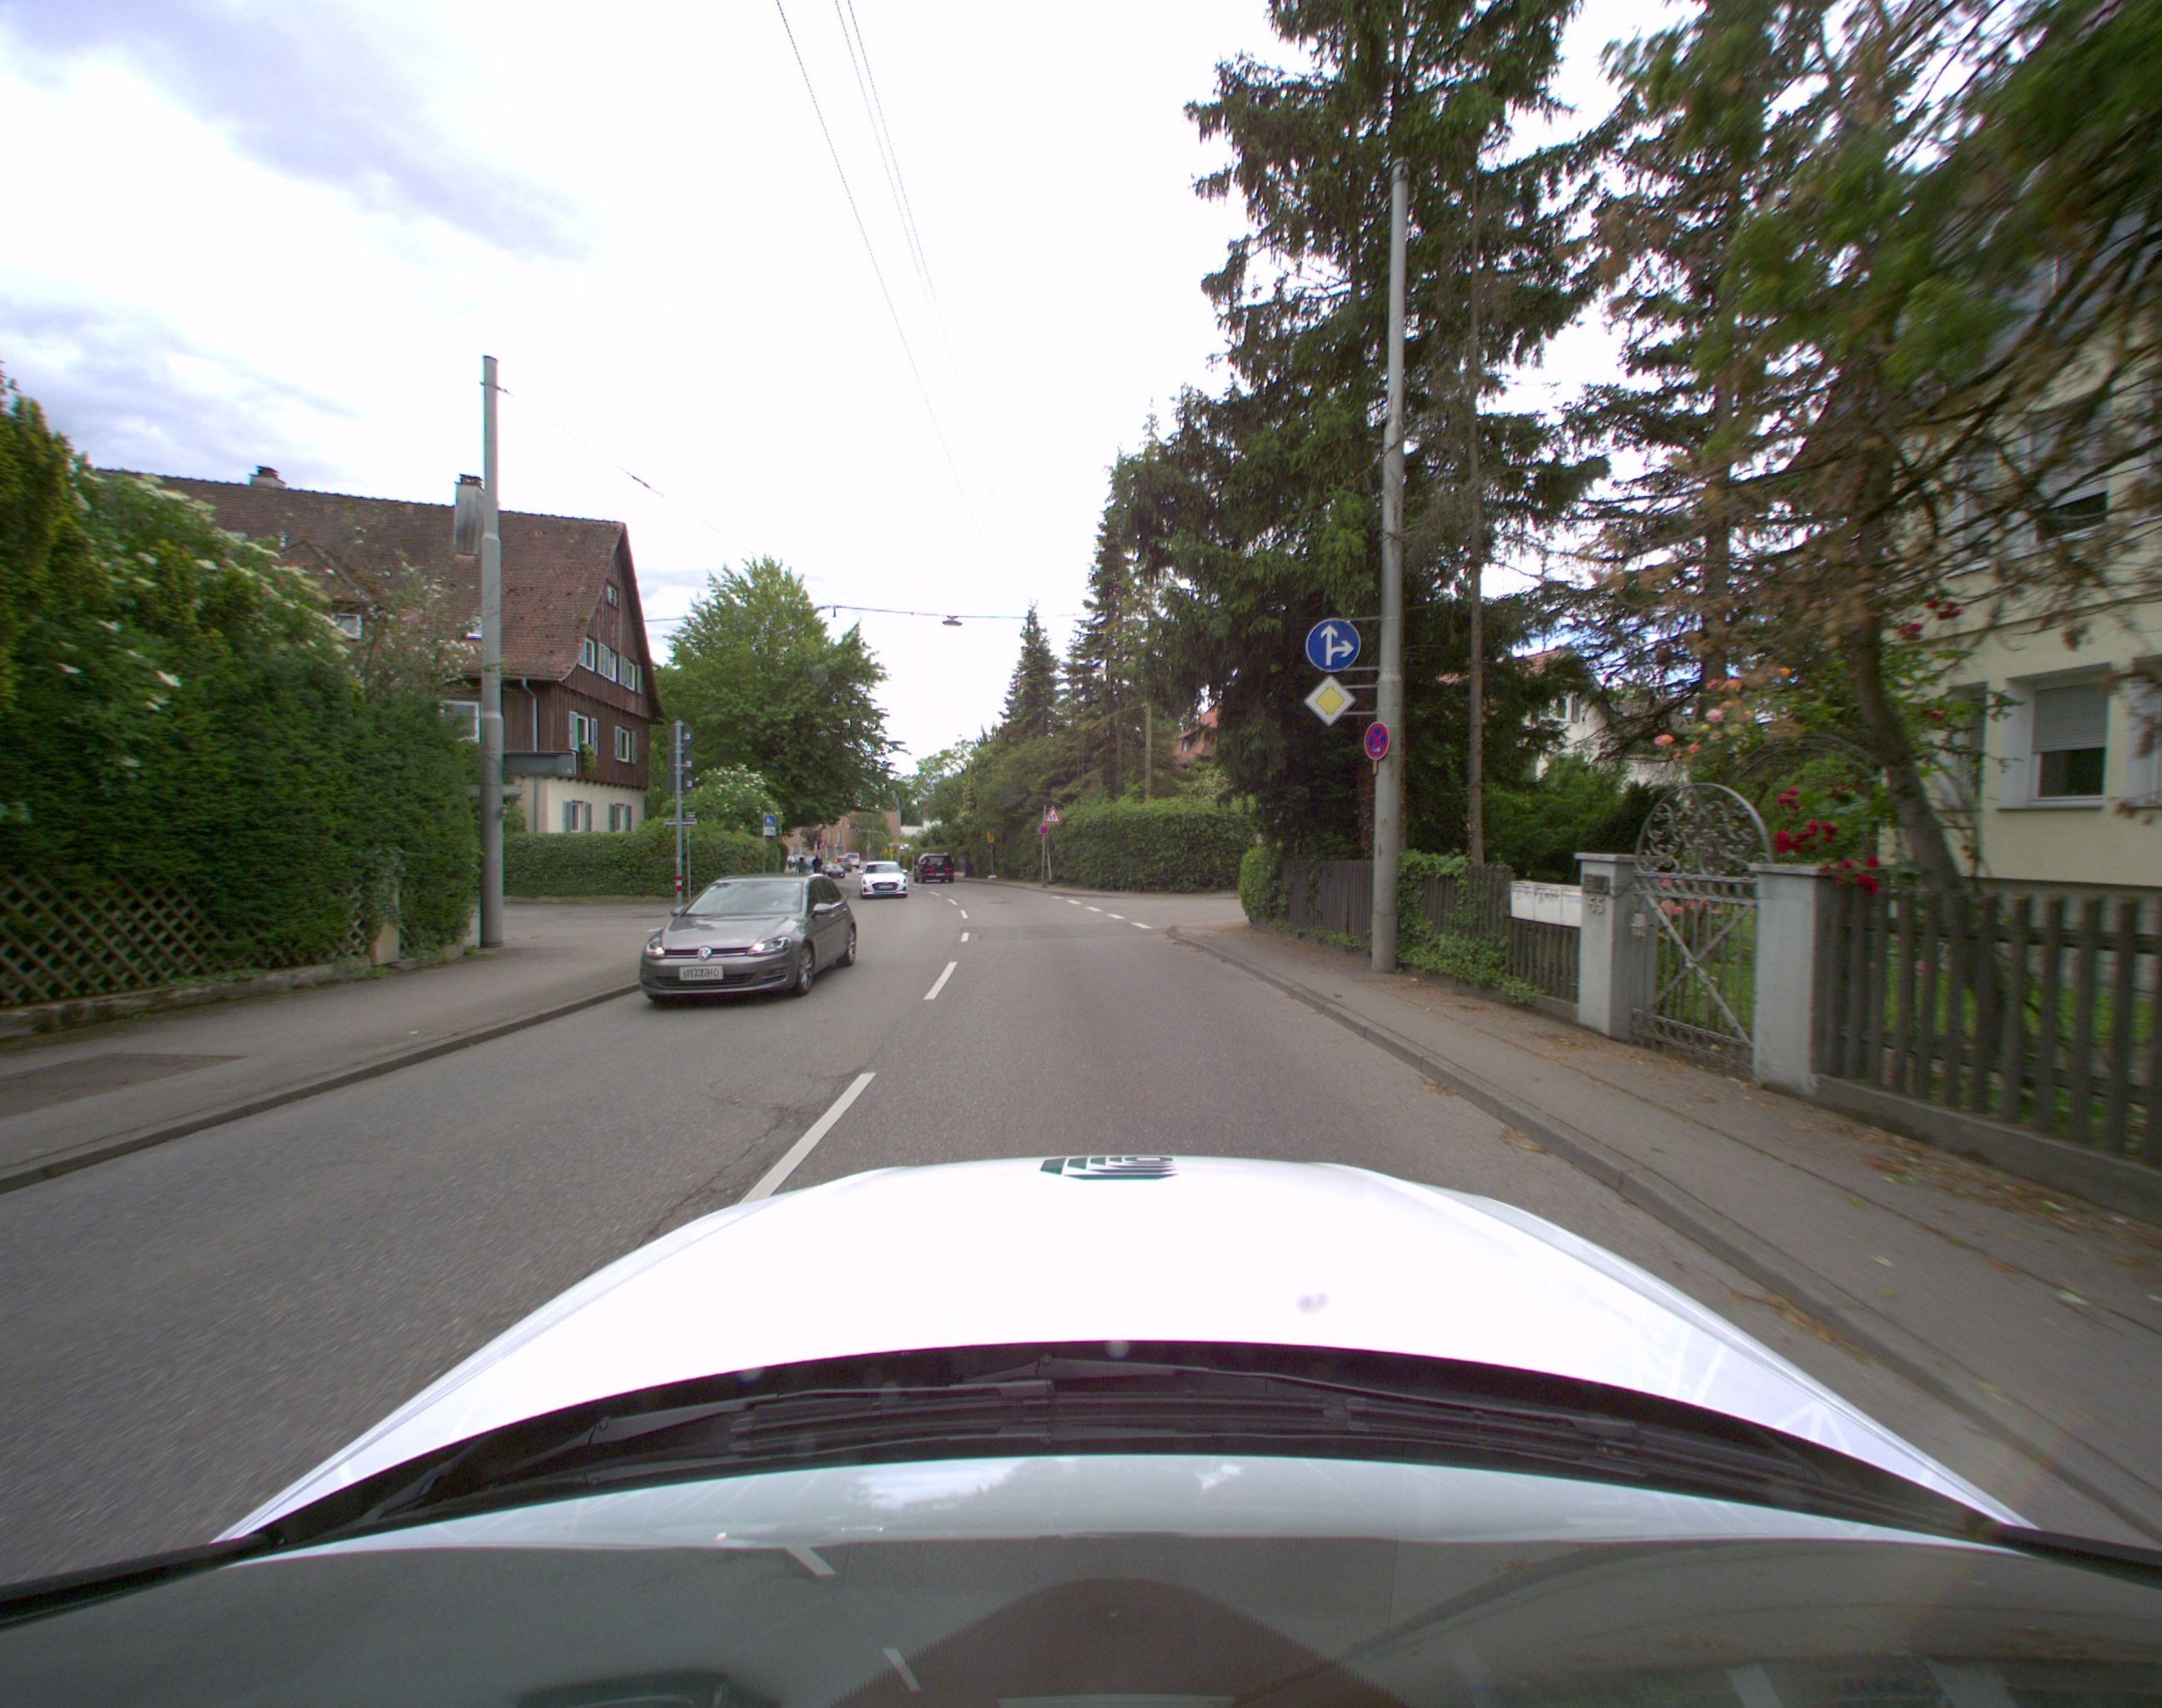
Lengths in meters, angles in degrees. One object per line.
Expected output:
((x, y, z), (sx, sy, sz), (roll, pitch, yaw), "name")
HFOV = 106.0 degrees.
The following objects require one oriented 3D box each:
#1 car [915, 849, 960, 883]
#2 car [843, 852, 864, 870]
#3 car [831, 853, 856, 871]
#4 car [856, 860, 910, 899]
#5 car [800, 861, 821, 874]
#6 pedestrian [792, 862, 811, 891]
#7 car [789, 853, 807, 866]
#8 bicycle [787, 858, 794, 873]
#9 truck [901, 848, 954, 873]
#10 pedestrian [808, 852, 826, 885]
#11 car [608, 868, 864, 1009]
((-8.552, 0.695, 48.403), (2.000, 1.881, 3.974), (1, 1, -20), "car")
((-28.533, 0.862, 102.177), (1.962, 2.013, 4.413), (4, 0, -10), "car")
((-23.813, 0.801, 81.795), (1.893, 1.706, 3.987), (1, -1, -10), "car")
((-8.142, 1.006, 33.277), (1.813, 1.443, 4.172), (-1, -1, -19), "car")
((-30.354, 1.492, 91.443), (1.729, 1.471, 3.500), (-1, 0, -27), "car")
((-14.446, 1.145, 42.116), (0.674, 1.449, 0.749), (-2, 1, -35), "pedestrian")
((-38.124, 0.683, 109.722), (1.841, 1.630, 4.246), (-1, 0, -26), "car")
((-34.978, 1.373, 98.042), (0.762, 1.744, 1.858), (-1, 0, -22), "bicycle")
((-30.346, 1.307, 161.665), (3.095, 4.735, 11.868), (1, 0, 32), "truck")
((-13.819, 0.759, 42.642), (0.633, 1.662, 0.910), (1, -2, -34), "pedestrian")
((-4.193, 0.929, 10.659), (1.910, 1.398, 3.903), (-1, 0, -5), "car")
